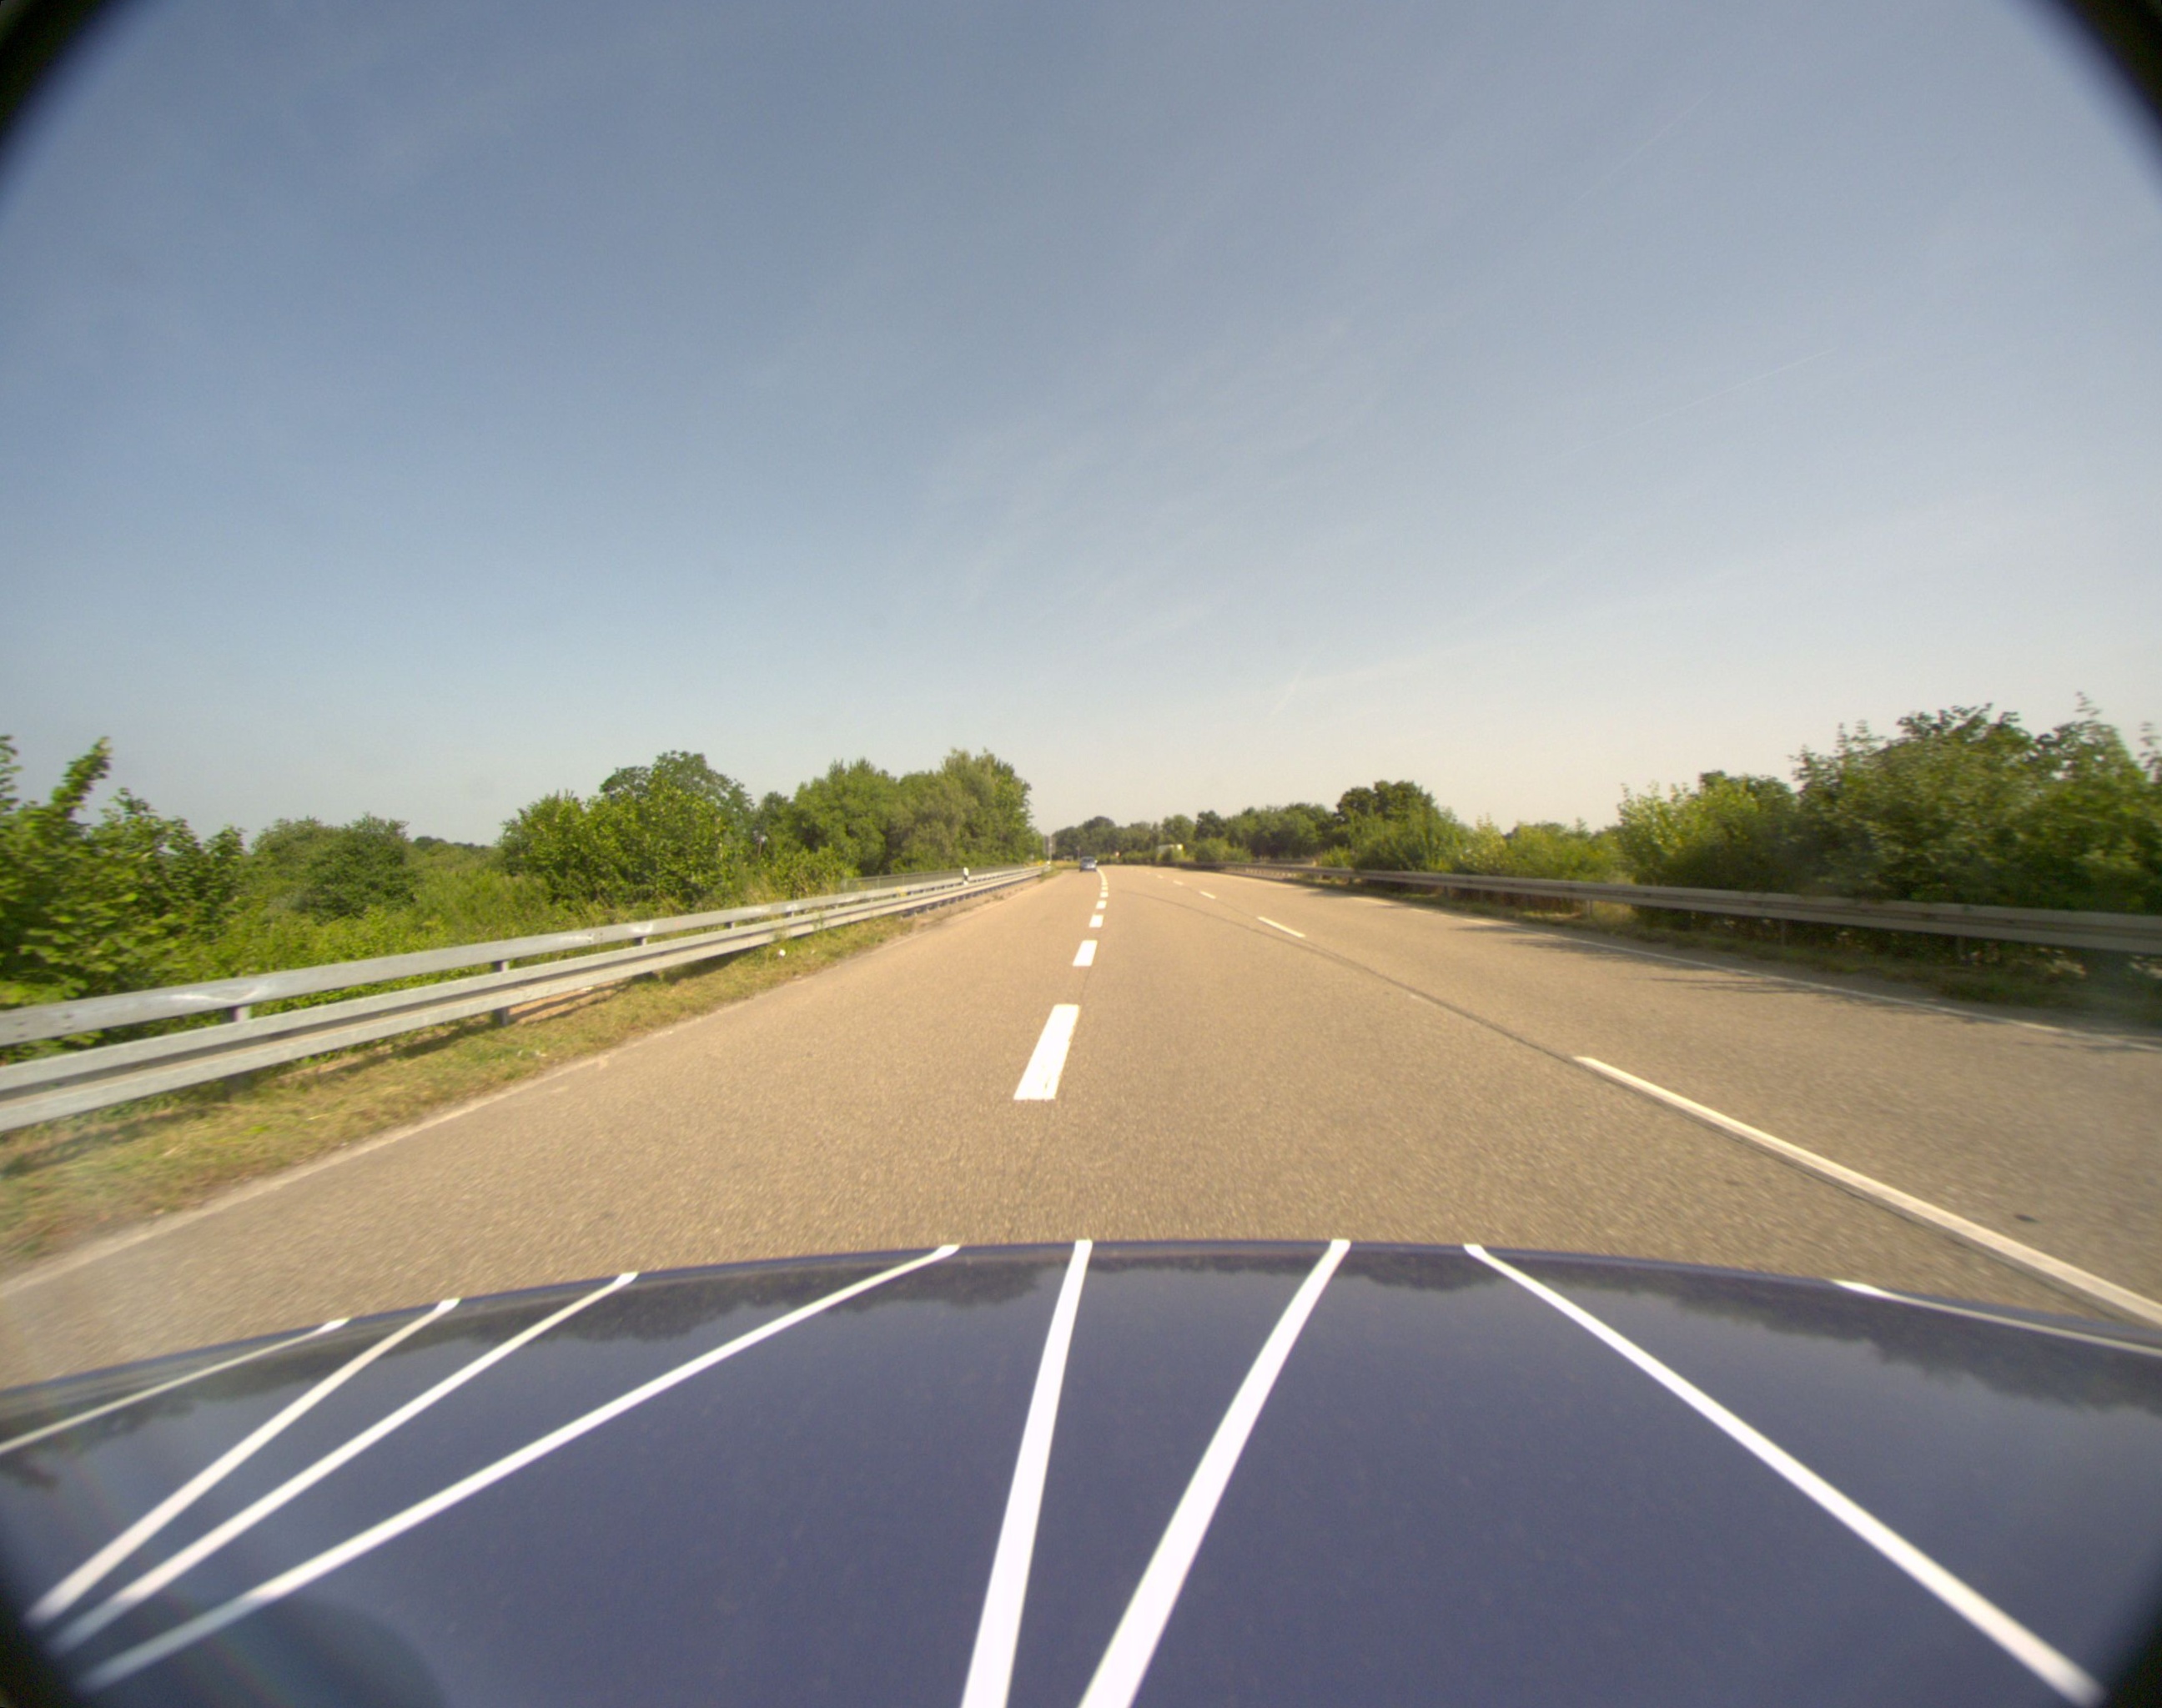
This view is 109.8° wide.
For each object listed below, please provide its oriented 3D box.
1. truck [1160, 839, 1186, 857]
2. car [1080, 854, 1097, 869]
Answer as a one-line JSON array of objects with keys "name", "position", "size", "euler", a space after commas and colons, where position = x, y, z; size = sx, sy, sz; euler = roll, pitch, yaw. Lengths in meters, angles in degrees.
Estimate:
[{"name": "truck", "position": [18.383, -1.208, 153.020], "size": [2.876, 3.258, 14.113], "euler": [-2, 1, -2]}, {"name": "car", "position": [0.764, 0.784, 81.090], "size": [1.702, 1.474, 3.600], "euler": [-3, -1, 1]}]
